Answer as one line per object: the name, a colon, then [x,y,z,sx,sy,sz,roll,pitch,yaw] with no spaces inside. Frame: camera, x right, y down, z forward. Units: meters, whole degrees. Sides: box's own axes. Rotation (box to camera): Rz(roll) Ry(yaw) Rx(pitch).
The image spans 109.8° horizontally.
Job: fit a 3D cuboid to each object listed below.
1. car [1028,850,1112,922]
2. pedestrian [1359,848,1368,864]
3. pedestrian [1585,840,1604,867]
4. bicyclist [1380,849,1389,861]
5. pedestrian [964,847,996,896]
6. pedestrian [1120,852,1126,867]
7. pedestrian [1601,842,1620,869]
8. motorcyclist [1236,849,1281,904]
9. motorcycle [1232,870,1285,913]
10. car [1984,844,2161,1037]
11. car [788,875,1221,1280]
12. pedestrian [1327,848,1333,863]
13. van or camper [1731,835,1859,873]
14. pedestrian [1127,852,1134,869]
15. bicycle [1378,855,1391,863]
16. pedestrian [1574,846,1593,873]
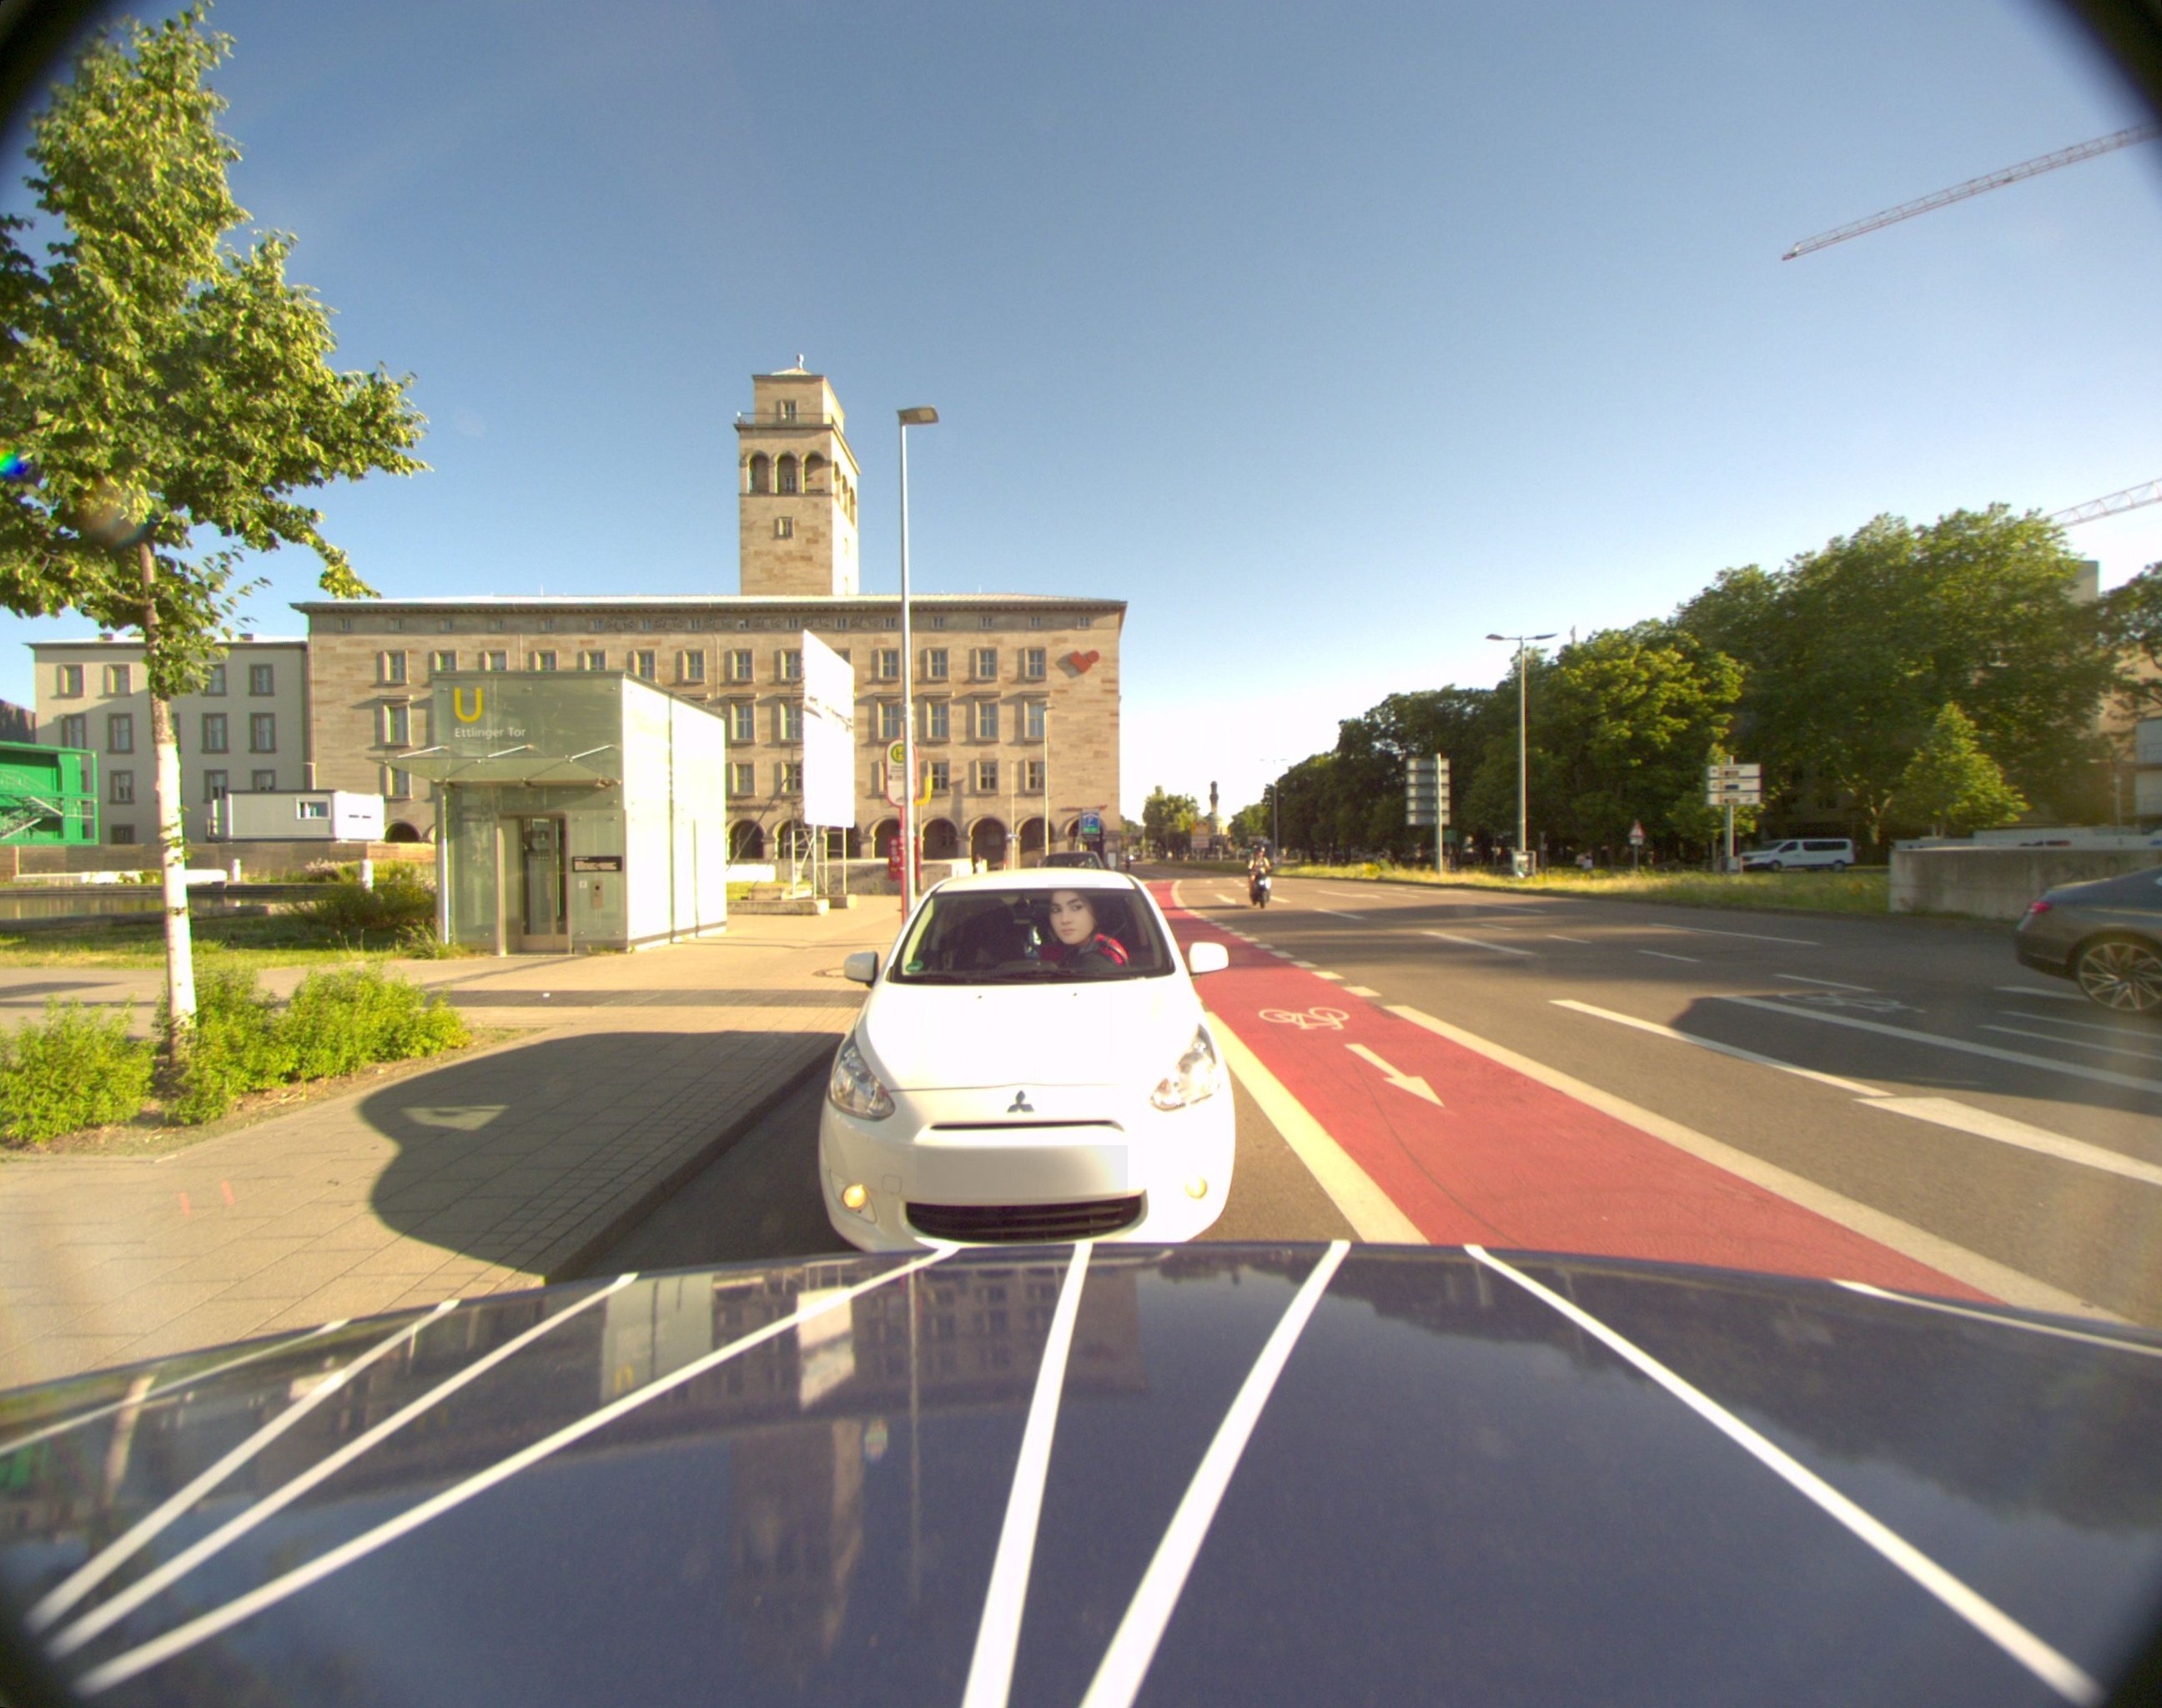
car: [-0.233,0.754,20.304,1.998,1.709,4.326,-1,0,1]
pedestrian: [32.285,0.250,86.912,0.628,1.837,0.925,-1,1,-1]
pedestrian: [32.971,-0.057,48.772,0.665,1.714,0.762,-1,0,1]
bicyclist: [32.112,0.142,80.435,0.610,1.274,0.715,-1,1,-1]
pedestrian: [-3.872,0.656,29.136,0.942,1.776,1.072,-4,1,1]
pedestrian: [5.020,0.669,90.908,0.704,1.843,0.828,-1,1,0]
pedestrian: [34.045,0.118,48.900,0.707,1.715,0.762,-1,1,3]
motorcyclist: [4.770,0.593,20.465,0.974,1.405,1.059,-2,1,3]
motorcycle: [4.789,0.987,20.652,0.974,1.008,2.267,-2,0,3]
car: [9.044,0.639,4.543,1.998,1.398,4.488,-2,0,2]
car: [-0.162,0.953,4.945,1.678,1.440,3.890,-2,0,5]
pedestrian: [32.578,0.187,99.400,0.568,1.837,0.734,-1,1,-1]
van or camper: [42.294,-0.026,45.080,5.649,2.002,1.948,-2,1,2]
pedestrian: [5.390,0.739,83.497,0.704,1.843,0.828,-1,1,0]
bicycle: [32.115,0.482,80.442,0.610,0.838,1.745,-1,0,-1]
pedestrian: [32.198,0.342,48.702,0.707,1.715,0.762,-1,1,1]
